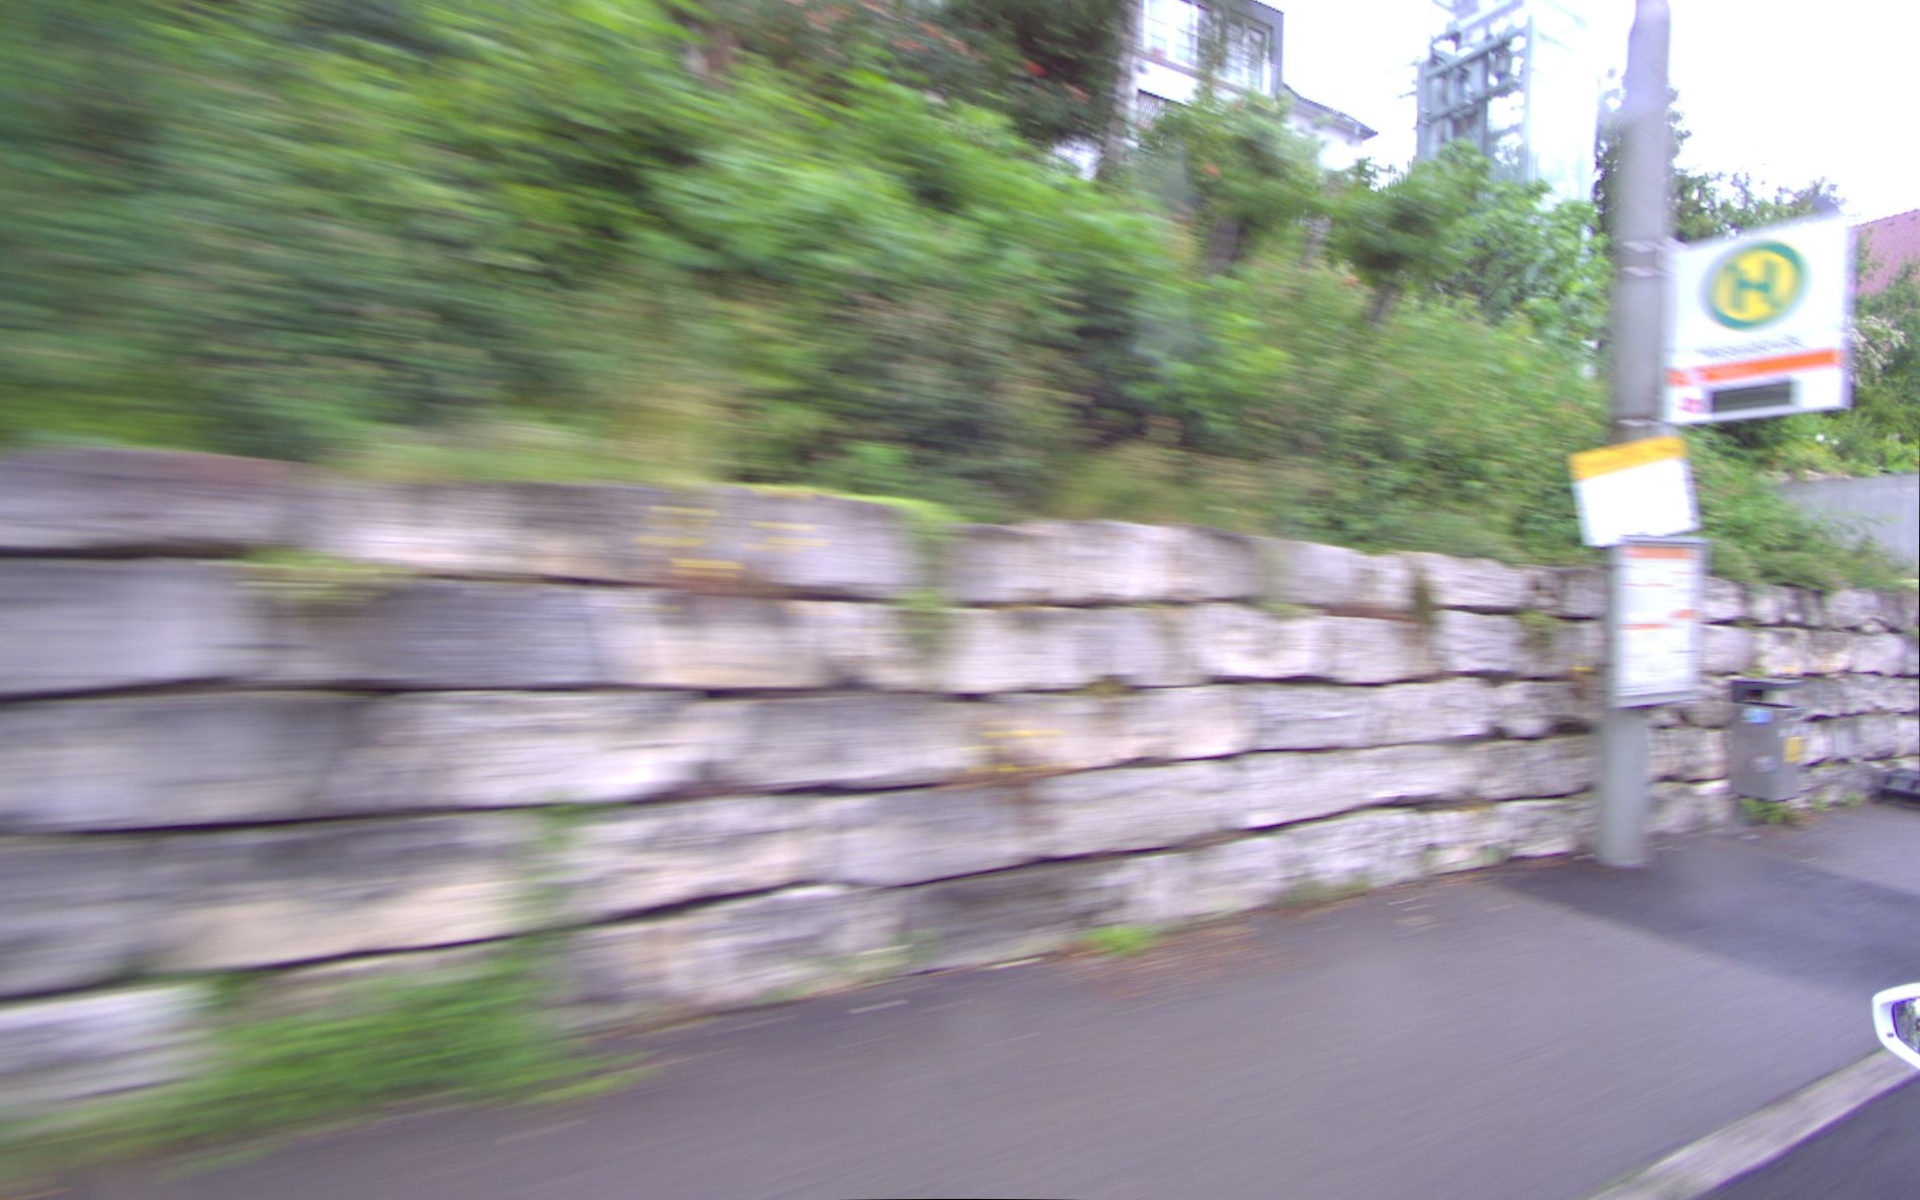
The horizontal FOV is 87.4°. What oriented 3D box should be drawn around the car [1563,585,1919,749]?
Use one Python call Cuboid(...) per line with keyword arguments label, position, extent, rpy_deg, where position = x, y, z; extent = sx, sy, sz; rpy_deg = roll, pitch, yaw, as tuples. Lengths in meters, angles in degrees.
Cuboid(label="car", position=(10.757, 0.768, 13.182), extent=(2.086, 1.728, 4.379), rpy_deg=(2, 1, -30))
